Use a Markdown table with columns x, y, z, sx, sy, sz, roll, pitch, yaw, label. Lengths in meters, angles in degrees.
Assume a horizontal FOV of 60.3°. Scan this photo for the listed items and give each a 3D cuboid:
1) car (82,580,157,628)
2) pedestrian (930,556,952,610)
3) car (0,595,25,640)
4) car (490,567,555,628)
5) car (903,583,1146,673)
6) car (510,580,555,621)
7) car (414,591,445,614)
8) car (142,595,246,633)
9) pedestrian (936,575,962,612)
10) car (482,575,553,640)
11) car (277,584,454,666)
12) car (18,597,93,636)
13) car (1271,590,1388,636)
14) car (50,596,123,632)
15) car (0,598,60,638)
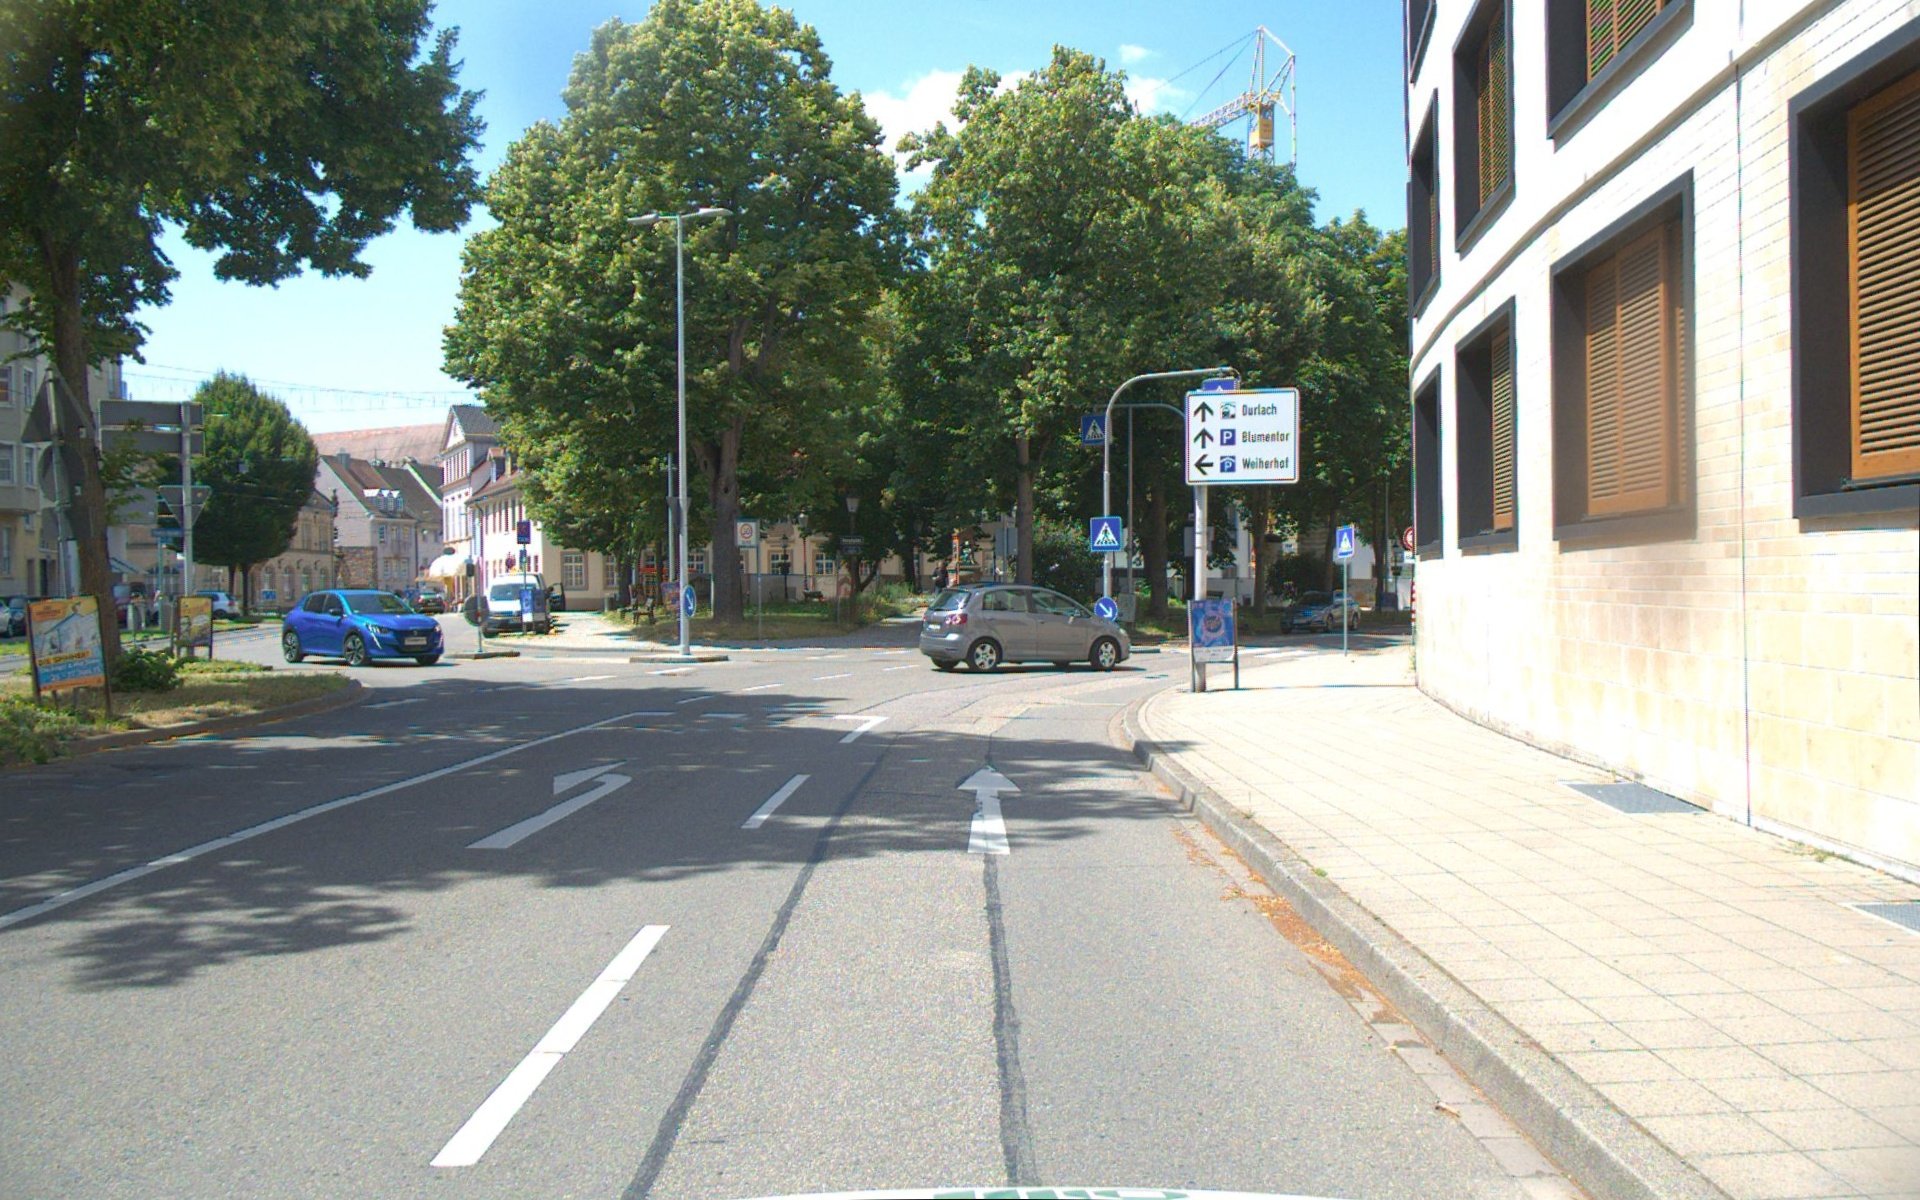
| x | y | z | sx | sy | sz | roll | pitch | yaw | label |
| --- | --- | --- | --- | --- | --- | --- | --- | --- | --- |
| -36.425 | 0.148 | 71.783 | 1.822 | 1.944 | 4.753 | -3 | 1 | -14 | car |
| -0.693 | -0.627 | 59.868 | 0.732 | 1.944 | 0.684 | -1 | 2 | 1 | pedestrian |
| -31.798 | 0.613 | 53.502 | 1.658 | 1.414 | 3.843 | -3 | 1 | -14 | car |
| -15.430 | -0.109 | 58.580 | 2.014 | 2.037 | 5.232 | -1 | 1 | -13 | car |
| 1.212 | 0.478 | 30.894 | 4.176 | 1.560 | 1.894 | 0 | 0 | -26 | car |
| -18.703 | 0.009 | 72.433 | 1.752 | 1.723 | 4.186 | -1 | 1 | -13 | car |
| -35.936 | 0.137 | 111.969 | 1.834 | 1.512 | 3.975 | -1 | 1 | -21 | car |
| -35.950 | 0.652 | 77.750 | 4.139 | 1.531 | 1.993 | -3 | 1 | -19 | car |
| -0.401 | -0.243 | 58.925 | 0.887 | 1.273 | 1.148 | -1 | 2 | 1 | pedestrian |
| -13.374 | 0.190 | 50.076 | 1.960 | 1.858 | 4.405 | -1 | 1 | -15 | car |
| -11.852 | 0.459 | 32.849 | 3.933 | 1.518 | 1.803 | 1 | 0 | 44 | car |
| -34.249 | 0.613 | 62.697 | 1.575 | 1.300 | 3.573 | -3 | 1 | -14 | car |
| 13.033 | 0.419 | 58.200 | 4.365 | 1.514 | 1.718 | -1 | 1 | -39 | car |
| -35.279 | 0.534 | 66.893 | 1.614 | 1.300 | 4.248 | -3 | 1 | -14 | car |
| -33.074 | 0.639 | 58.180 | 1.658 | 1.300 | 3.276 | -3 | 1 | -14 | car |
